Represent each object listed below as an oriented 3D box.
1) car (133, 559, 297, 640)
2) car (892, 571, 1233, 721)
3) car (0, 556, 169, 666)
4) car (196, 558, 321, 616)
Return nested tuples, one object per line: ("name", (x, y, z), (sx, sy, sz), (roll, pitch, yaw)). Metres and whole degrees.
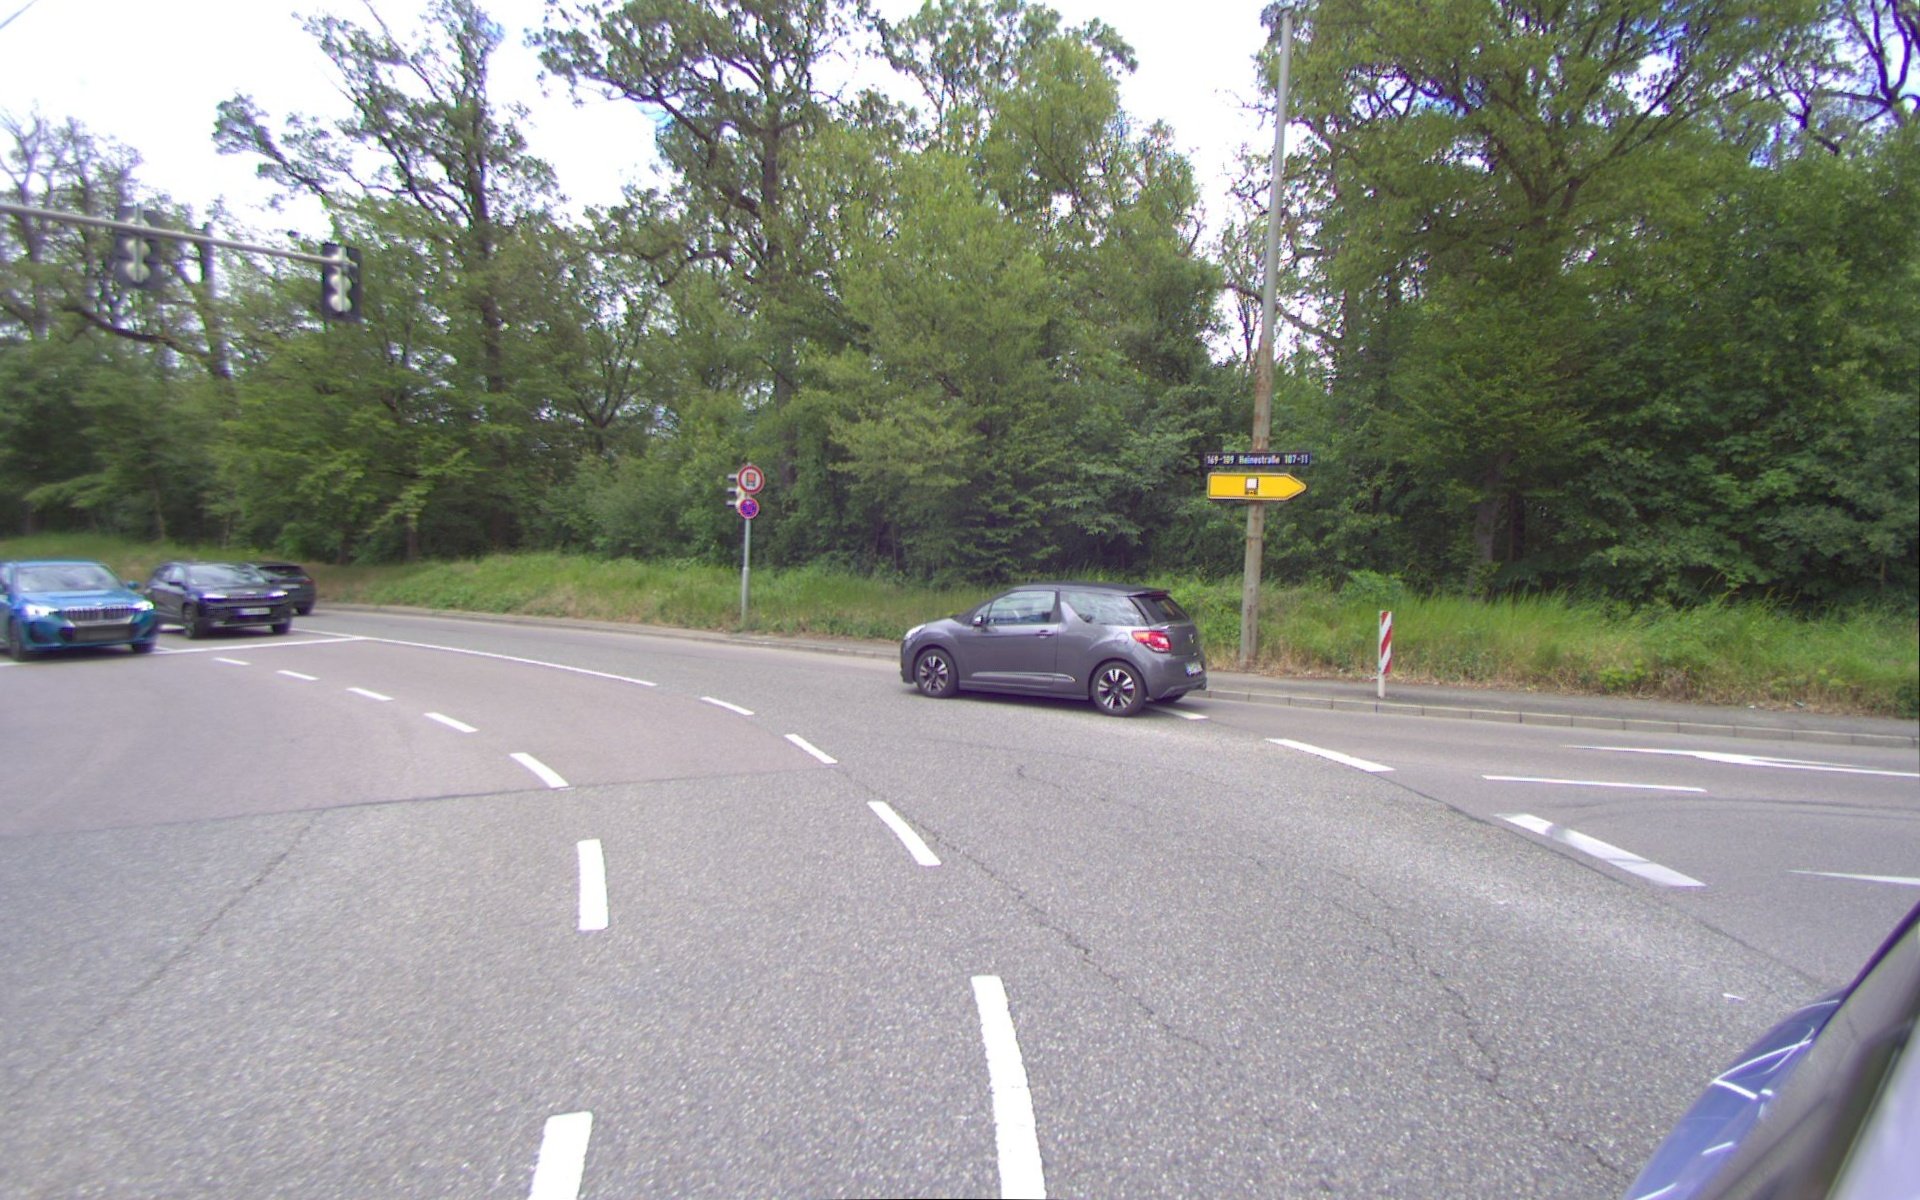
("car", (-15.811, -0.088, 21.422), (3.977, 1.525, 1.716), (2, 4, 37))
("car", (1.205, 0.436, 12.429), (3.781, 1.529, 1.802), (2, 2, 33))
("car", (-15.642, 0.088, 17.538), (3.973, 1.595, 1.894), (3, 5, 34))
("car", (-19.404, -0.401, 27.940), (3.977, 1.463, 1.683), (2, 3, 37))
